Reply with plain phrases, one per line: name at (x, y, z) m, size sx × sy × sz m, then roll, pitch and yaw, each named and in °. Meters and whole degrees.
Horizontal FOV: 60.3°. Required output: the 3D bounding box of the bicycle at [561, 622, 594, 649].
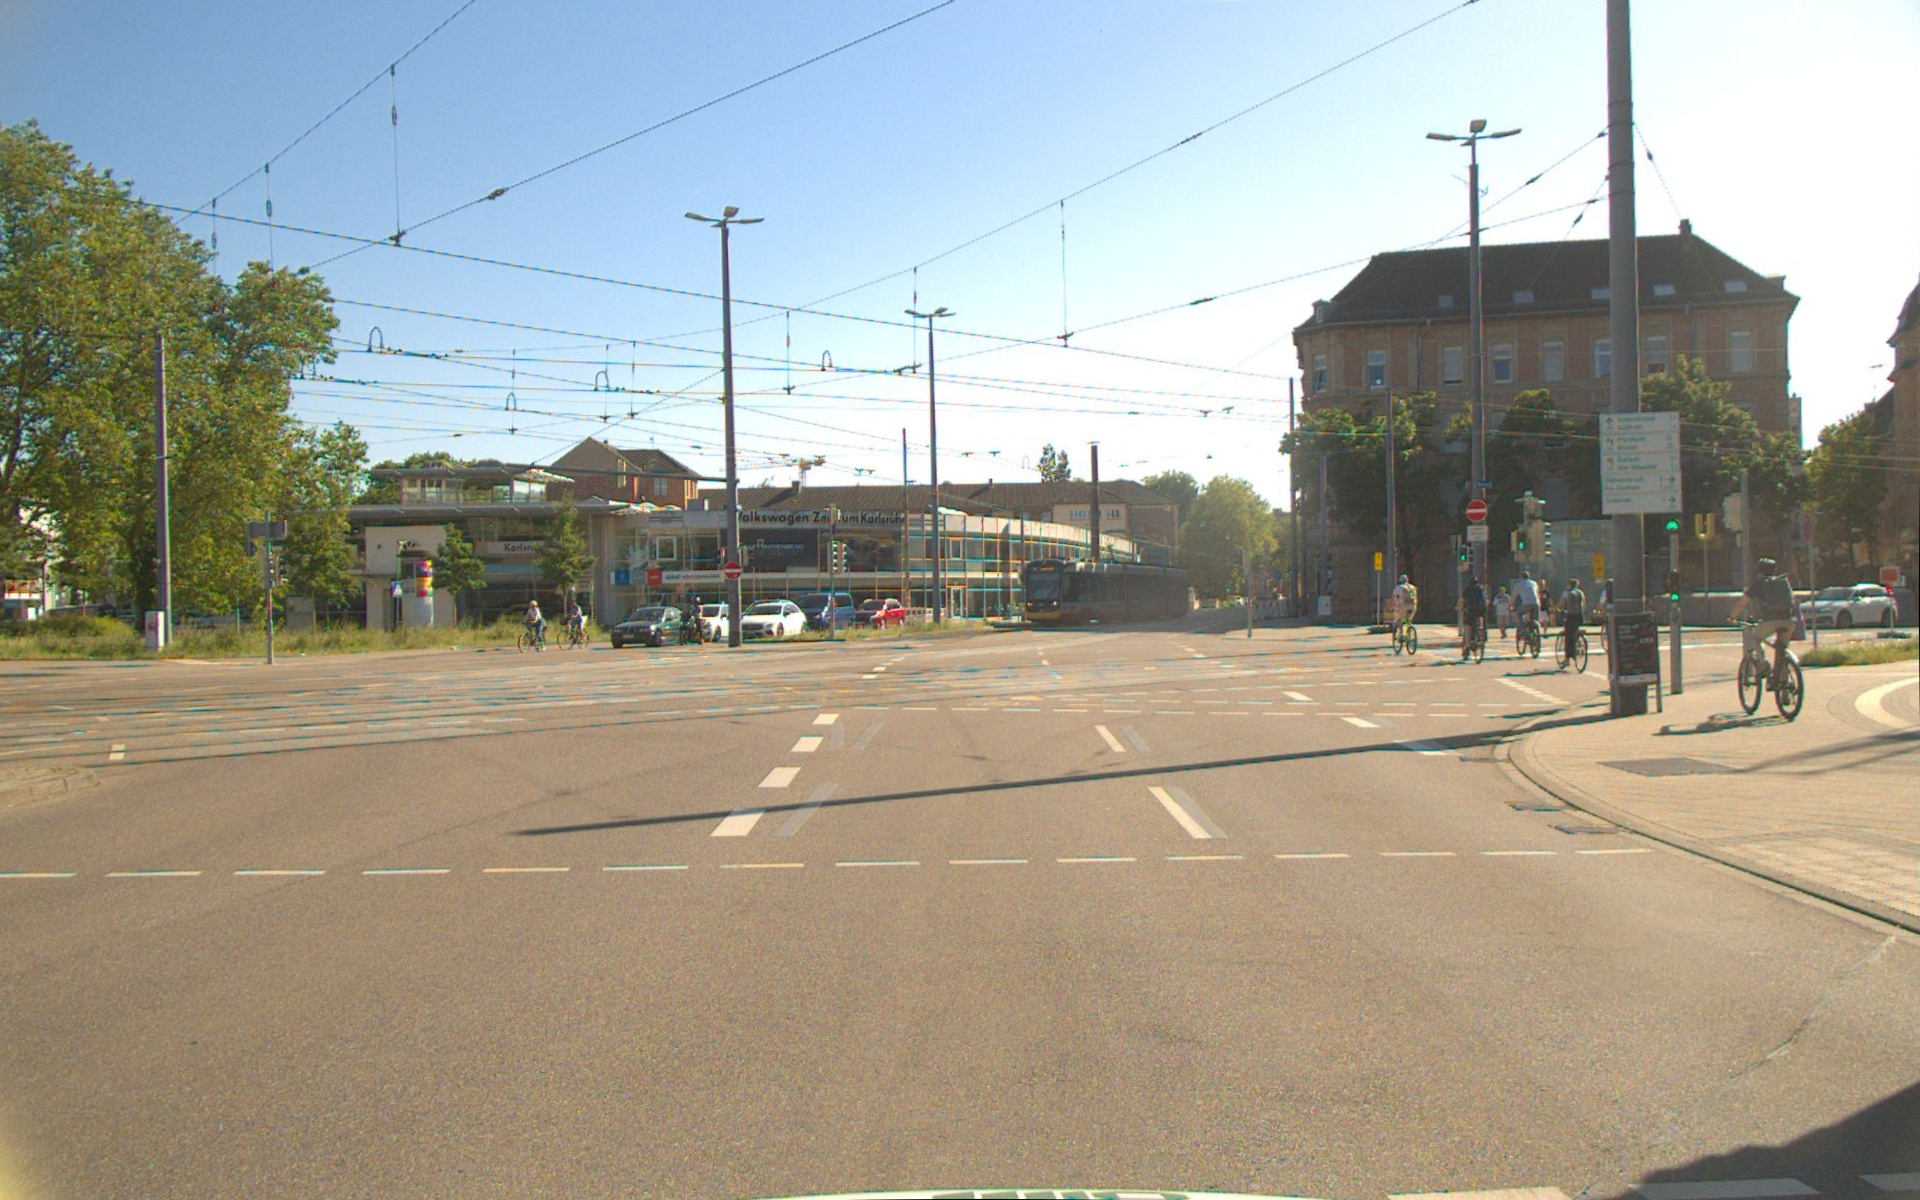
bicycle at (-13.709, 1.266, 59.337) m, size 0.458 × 0.943 × 1.476 m, roll -1°, pitch 0°, yaw 17°

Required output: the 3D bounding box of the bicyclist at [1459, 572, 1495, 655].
bicyclist at (10.658, 0.263, 34.125) m, size 0.612 × 1.666 × 0.996 m, roll 2°, pitch 1°, yaw 14°

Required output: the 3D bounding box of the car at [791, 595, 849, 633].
car at (-6.553, 0.629, 77.720) m, size 1.591 × 1.722 × 3.688 m, roll -1°, pitch 0°, yaw 14°

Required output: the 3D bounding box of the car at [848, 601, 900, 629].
car at (-4.386, 0.742, 84.883) m, size 1.591 × 1.388 × 3.688 m, roll -1°, pitch 0°, yaw 16°

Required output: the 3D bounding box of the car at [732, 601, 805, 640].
car at (-7.342, 0.780, 63.688) m, size 1.591 × 1.406 × 3.741 m, roll -1°, pitch 0°, yaw 14°

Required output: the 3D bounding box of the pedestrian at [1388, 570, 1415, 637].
pedestrian at (10.598, 0.077, 39.716) m, size 0.537 × 1.590 × 0.858 m, roll -1°, pitch 0°, yaw 19°

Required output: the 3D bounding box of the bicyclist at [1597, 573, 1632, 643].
bicyclist at (15.269, 0.188, 38.593) m, size 0.559 × 1.596 × 0.947 m, roll -1°, pitch 0°, yaw 9°

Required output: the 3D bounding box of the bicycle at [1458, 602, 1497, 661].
bicycle at (10.672, 0.641, 34.142) m, size 0.612 × 1.133 × 1.852 m, roll 2°, pitch 1°, yaw 14°

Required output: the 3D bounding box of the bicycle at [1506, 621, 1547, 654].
bicycle at (12.440, 0.812, 36.328) m, size 0.525 × 0.667 × 1.469 m, roll -2°, pitch 0°, yaw 6°

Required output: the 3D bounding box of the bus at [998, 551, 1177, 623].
bus at (8.039, -0.541, 96.653) m, size 3.757 × 3.671 × 24.868 m, roll 1°, pitch -1°, yaw 20°

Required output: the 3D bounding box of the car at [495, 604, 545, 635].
car at (-26.137, 1.150, 98.296) m, size 1.926 × 1.736 × 4.082 m, roll -1°, pitch 0°, yaw -1°

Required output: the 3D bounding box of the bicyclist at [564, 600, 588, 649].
bicyclist at (-13.743, 0.870, 59.211) m, size 0.556 × 1.744 × 0.649 m, roll -1°, pitch 0°, yaw 17°

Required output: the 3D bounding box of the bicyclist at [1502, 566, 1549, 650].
bicyclist at (12.431, 0.178, 36.396) m, size 0.731 × 1.810 × 0.925 m, roll -2°, pitch 0°, yaw 6°

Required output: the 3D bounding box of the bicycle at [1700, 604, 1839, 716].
bicycle at (9.617, 0.687, 19.731) m, size 0.676 × 1.239 × 1.834 m, roll -3°, pitch 0°, yaw -1°

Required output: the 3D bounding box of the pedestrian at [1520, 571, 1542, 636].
pedestrian at (18.344, 0.113, 53.135) m, size 0.453 × 2.049 × 0.449 m, roll -1°, pitch 0°, yaw -19°

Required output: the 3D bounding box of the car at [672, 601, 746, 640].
car at (-9.896, 0.804, 65.527) m, size 1.591 × 1.449 × 3.688 m, roll -1°, pitch 0°, yaw 14°

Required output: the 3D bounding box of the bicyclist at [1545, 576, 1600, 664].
bicyclist at (11.615, 0.369, 31.396) m, size 0.671 × 1.626 × 0.977 m, roll -1°, pitch 0°, yaw 1°

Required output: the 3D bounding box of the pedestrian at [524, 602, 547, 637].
pedestrian at (-14.739, 0.677, 57.443) m, size 0.414 × 1.225 × 0.679 m, roll -1°, pitch 0°, yaw 29°

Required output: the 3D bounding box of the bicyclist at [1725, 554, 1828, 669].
bicyclist at (9.713, 0.134, 19.705) m, size 0.705 × 1.301 × 0.907 m, roll -3°, pitch 0°, yaw -1°

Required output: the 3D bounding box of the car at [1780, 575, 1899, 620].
car at (32.908, -0.103, 61.890) m, size 4.258 × 1.591 × 1.785 m, roll -1°, pitch 0°, yaw -26°

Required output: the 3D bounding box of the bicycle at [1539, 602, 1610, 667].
bicycle at (11.618, 0.628, 31.340) m, size 0.671 × 1.184 × 1.884 m, roll -1°, pitch 0°, yaw 1°

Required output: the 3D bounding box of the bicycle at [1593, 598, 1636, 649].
bicycle at (15.287, 0.542, 38.637) m, size 0.559 × 1.145 × 1.742 m, roll -1°, pitch 0°, yaw 9°

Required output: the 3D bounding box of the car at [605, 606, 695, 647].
car at (-11.110, 0.939, 59.550) m, size 1.667 × 1.378 × 3.703 m, roll -1°, pitch 0°, yaw 16°

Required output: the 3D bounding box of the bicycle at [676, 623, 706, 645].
bicycle at (-9.586, 1.211, 58.995) m, size 0.413 × 0.730 × 1.635 m, roll -1°, pitch 0°, yaw 16°

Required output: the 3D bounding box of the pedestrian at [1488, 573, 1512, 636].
pedestrian at (17.667, 0.154, 54.134) m, size 0.564 × 2.049 × 0.449 m, roll -1°, pitch 0°, yaw -19°

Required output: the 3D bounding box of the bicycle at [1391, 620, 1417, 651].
bicycle at (10.646, 0.848, 39.635) m, size 0.525 × 0.667 × 1.726 m, roll -1°, pitch 0°, yaw 18°

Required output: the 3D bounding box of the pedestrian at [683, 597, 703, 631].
pedestrian at (-9.538, 0.502, 59.157) m, size 0.413 × 1.225 × 0.750 m, roll -1°, pitch 0°, yaw 16°

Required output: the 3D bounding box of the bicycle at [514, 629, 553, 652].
bicycle at (-14.787, 1.393, 57.311) m, size 0.414 × 0.730 × 1.473 m, roll -1°, pitch 0°, yaw 29°
